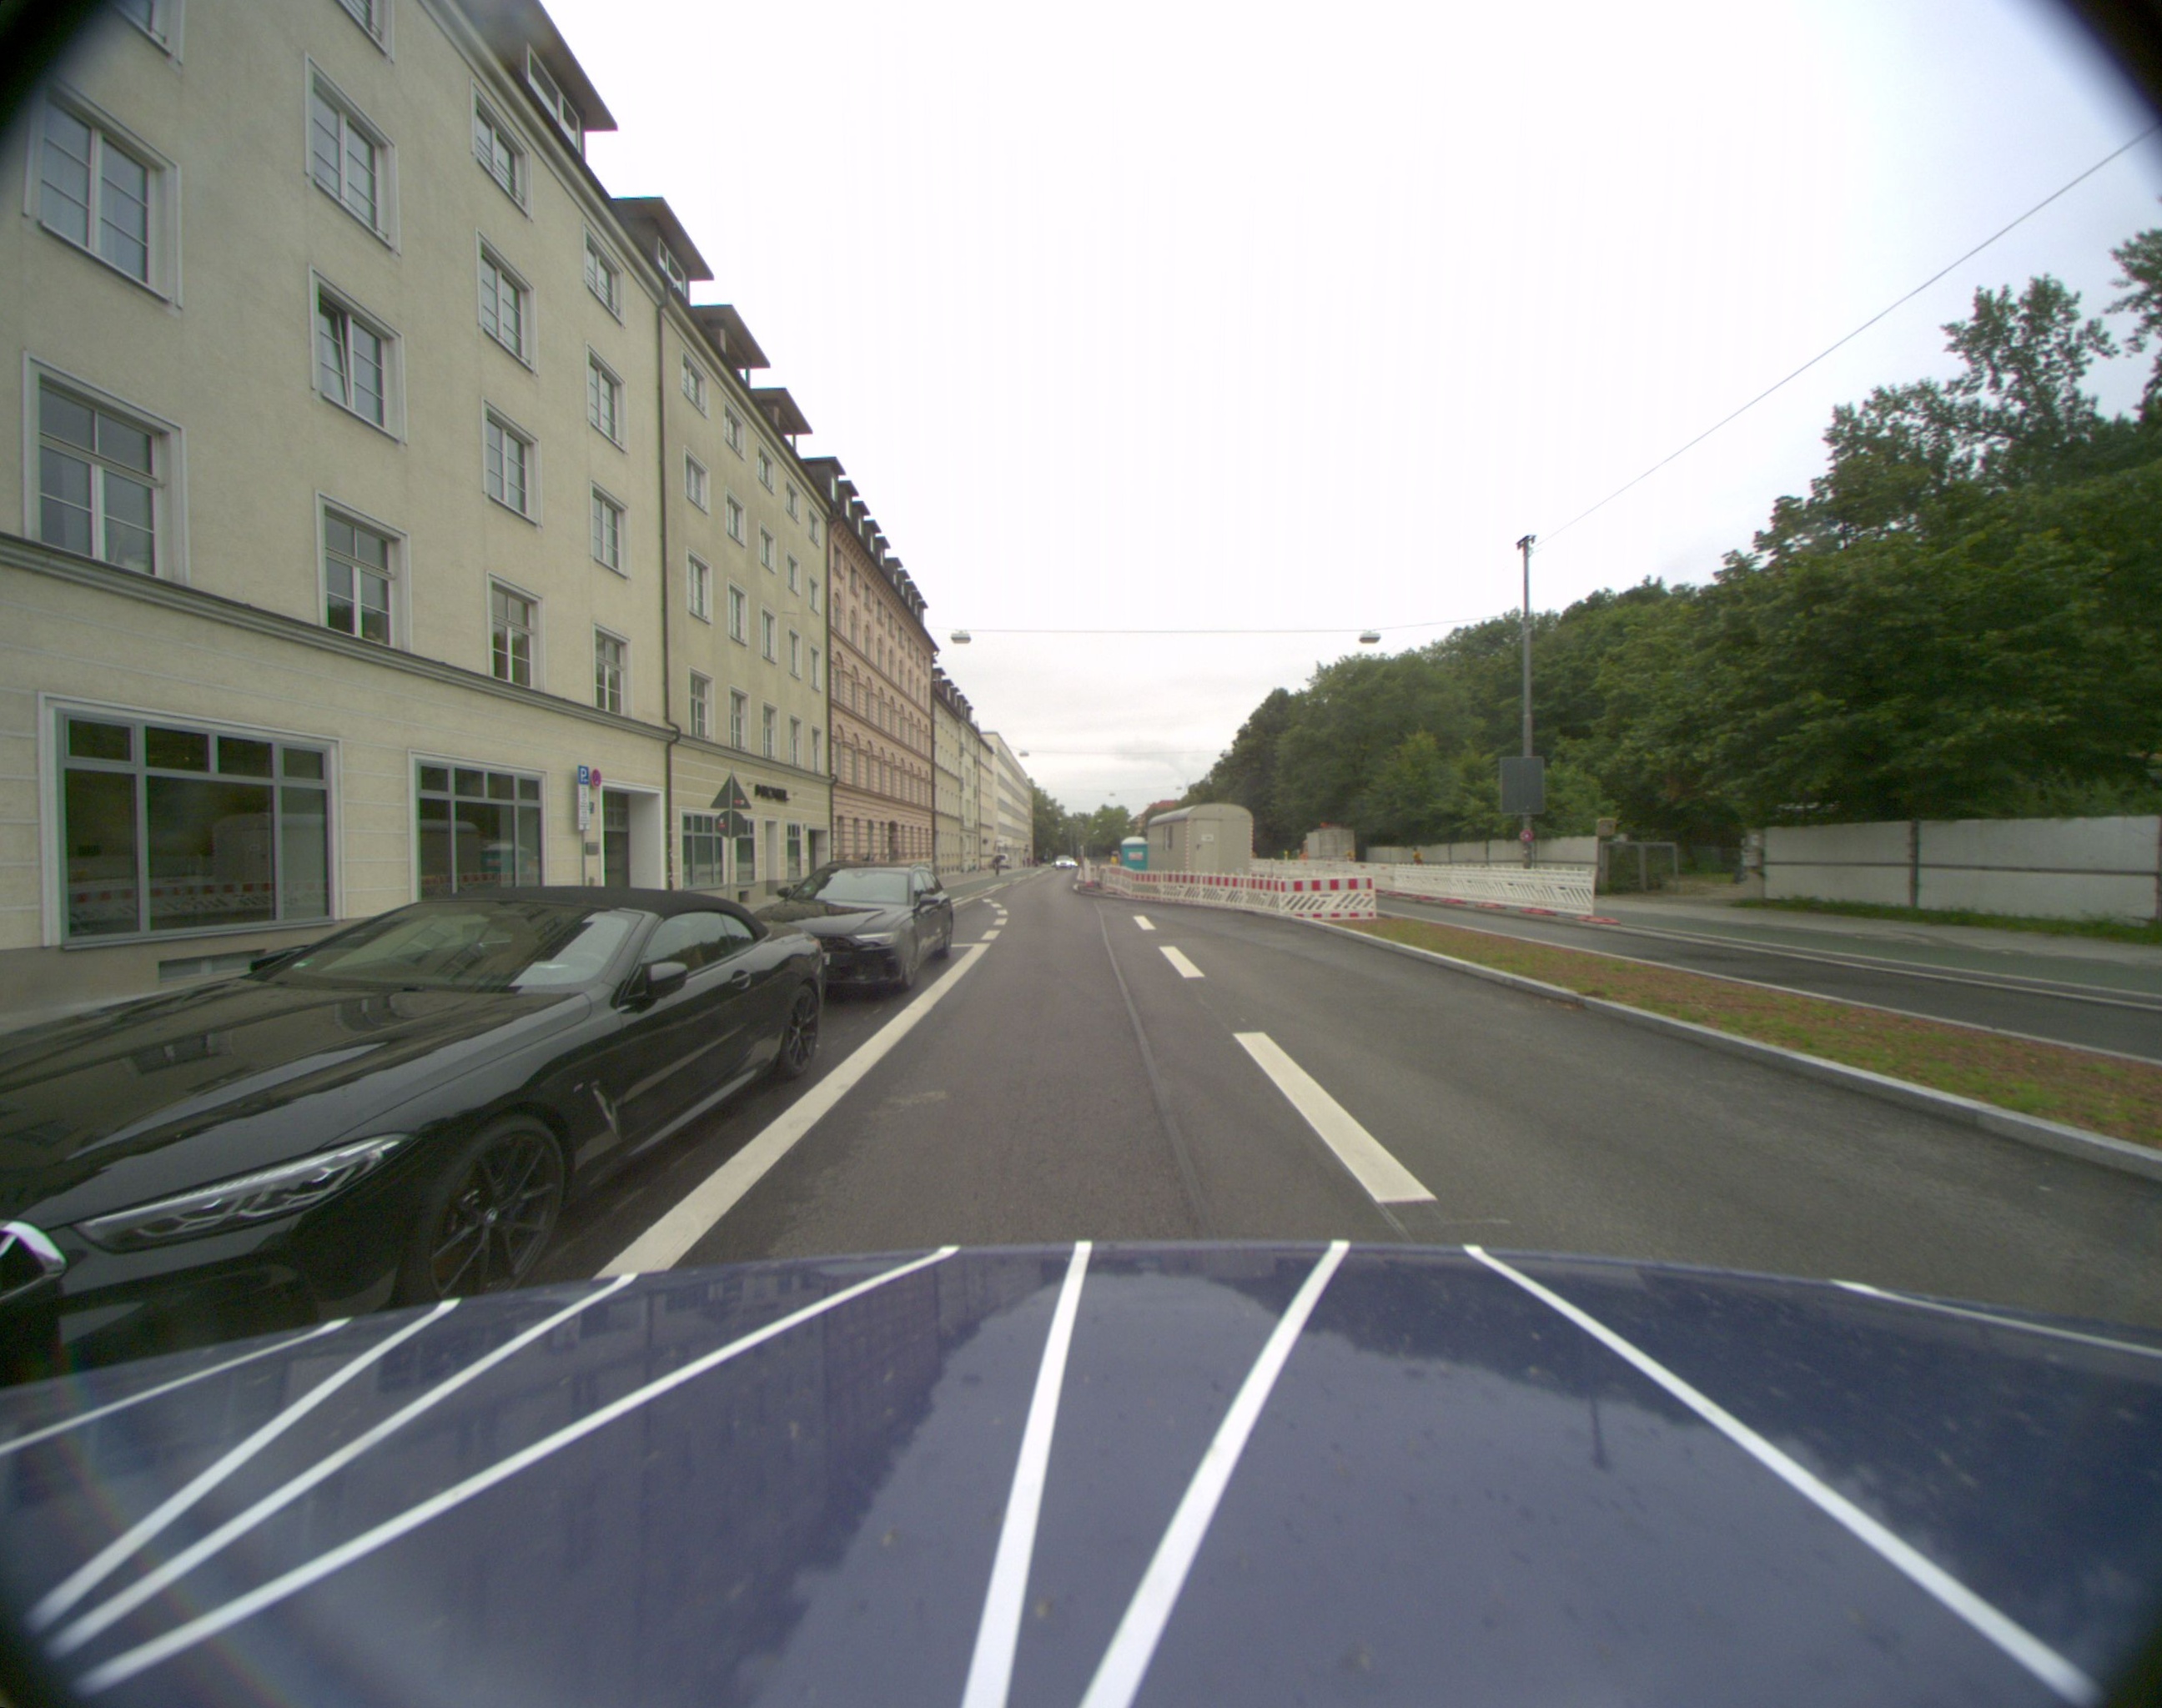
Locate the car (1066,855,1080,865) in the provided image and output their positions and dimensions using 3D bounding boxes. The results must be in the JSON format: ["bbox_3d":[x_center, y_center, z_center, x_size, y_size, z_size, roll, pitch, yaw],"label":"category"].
[{"bbox_3d":[-1.218,0.873,111.817,1.759,1.461,3.998,-2,0,-4],"label":"car"}]

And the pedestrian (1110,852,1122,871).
[{"bbox_3d":[3.481,0.745,75.760,0.861,1.826,0.874,-1,1,-16],"label":"pedestrian"}]

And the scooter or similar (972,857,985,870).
[{"bbox_3d":[-9.901,0.903,73.442,1.078,1.185,0.453,-1,1,-29],"label":"scooter or similar"}]

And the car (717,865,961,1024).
[{"bbox_3d":[-2.823,0.958,10.007,1.813,1.472,4.461,3,0,-1],"label":"car"}]

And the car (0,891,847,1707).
[{"bbox_3d":[-2.852,1.035,3.661,1.830,1.399,4.720,-2,0,2],"label":"car"}]

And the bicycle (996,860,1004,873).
[{"bbox_3d":[-6.623,1.050,62.347,0.632,1.031,2.016,-1,0,-6],"label":"bicycle"}]

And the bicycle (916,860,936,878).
[{"bbox_3d":[-10.173,0.989,50.029,0.556,1.170,1.727,0,0,15],"label":"bicycle"}]

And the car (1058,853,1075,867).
[{"bbox_3d":[-1.616,0.611,84.939,1.759,1.461,3.999,-2,0,0],"label":"car"}]

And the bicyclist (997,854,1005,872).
[{"bbox_3d":[-6.558,0.730,62.368,0.632,1.459,0.652,-1,1,-6],"label":"bicyclist"}]

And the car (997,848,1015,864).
[{"bbox_3d":[-8.955,0.234,91.154,1.766,1.821,3.999,-1,0,0],"label":"car"}]

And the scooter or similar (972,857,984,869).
[{"bbox_3d":[-10.166,0.916,74.778,1.079,1.185,0.436,-1,1,-40],"label":"scooter or similar"}]

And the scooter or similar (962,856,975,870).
[{"bbox_3d":[-10.126,0.826,68.599,0.552,1.238,1.079,0,1,35],"label":"scooter or similar"}]

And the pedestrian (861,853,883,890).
[{"bbox_3d":[-9.840,0.813,35.807,0.795,1.735,0.833,-1,1,1],"label":"pedestrian"}]
